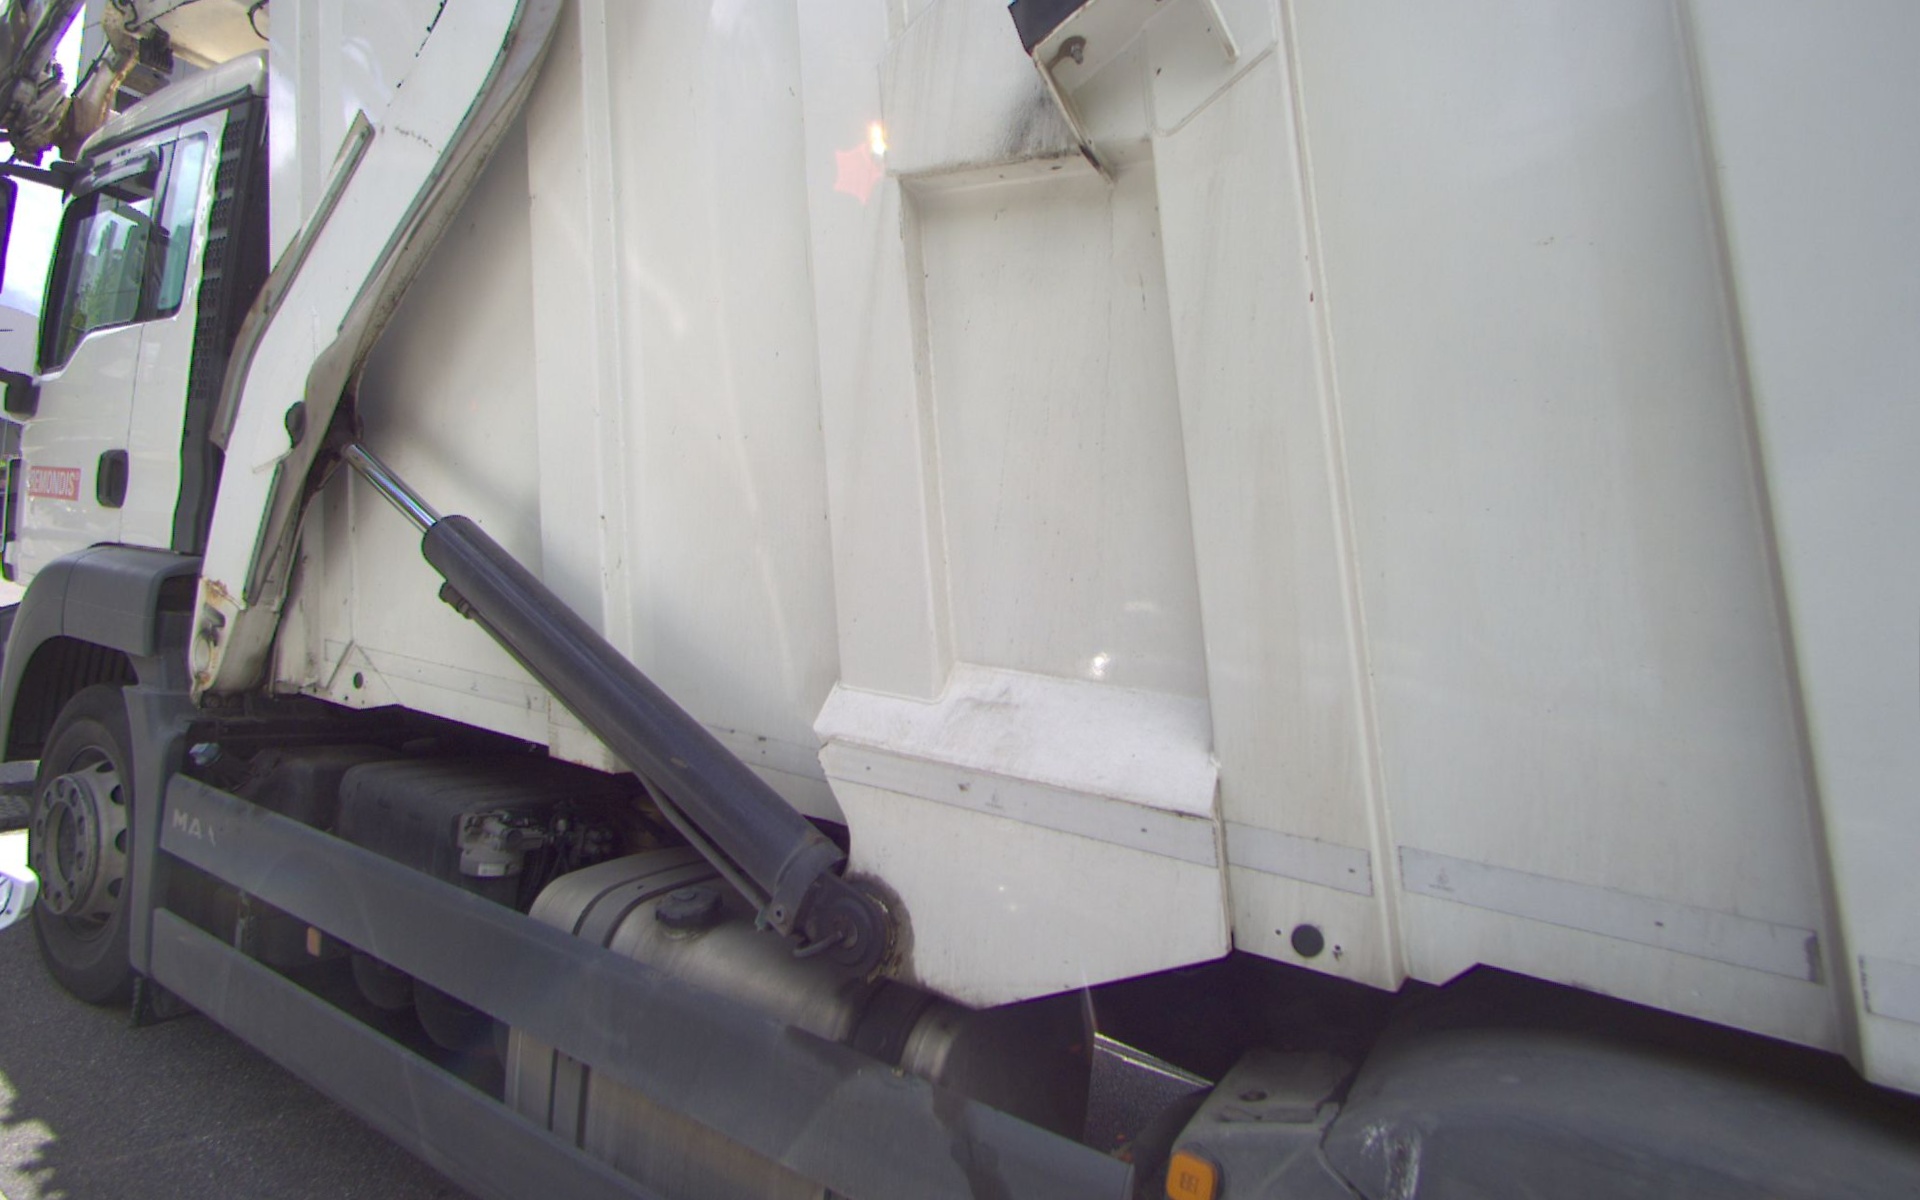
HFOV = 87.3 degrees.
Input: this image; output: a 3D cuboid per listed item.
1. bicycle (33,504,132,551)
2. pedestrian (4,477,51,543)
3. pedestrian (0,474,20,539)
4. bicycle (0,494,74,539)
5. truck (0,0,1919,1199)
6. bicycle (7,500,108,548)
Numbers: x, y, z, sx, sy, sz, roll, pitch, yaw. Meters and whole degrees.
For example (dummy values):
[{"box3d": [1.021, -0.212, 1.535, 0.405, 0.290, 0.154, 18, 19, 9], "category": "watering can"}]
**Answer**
[{"box3d": [-27.015, -2.219, 30.999, 2.166, 1.099, 0.474, 8, -1, -23], "category": "bicycle"}, {"box3d": [-27.460, -2.639, 29.636, 0.698, 1.818, 0.693, 7, 3, 16], "category": "pedestrian"}, {"box3d": [-27.644, -2.706, 28.870, 0.698, 1.818, 0.642, 7, 3, 16], "category": "pedestrian"}, {"box3d": [-29.296, -2.642, 31.489, 2.197, 1.099, 0.474, 8, -1, -23], "category": "bicycle"}, {"box3d": [1.122, -0.323, 2.191, 10.003, 3.958, 2.494, 6, -1, 31], "category": "truck"}, {"box3d": [-27.960, -2.336, 31.204, 2.197, 1.099, 0.474, 8, -1, -23], "category": "bicycle"}]
